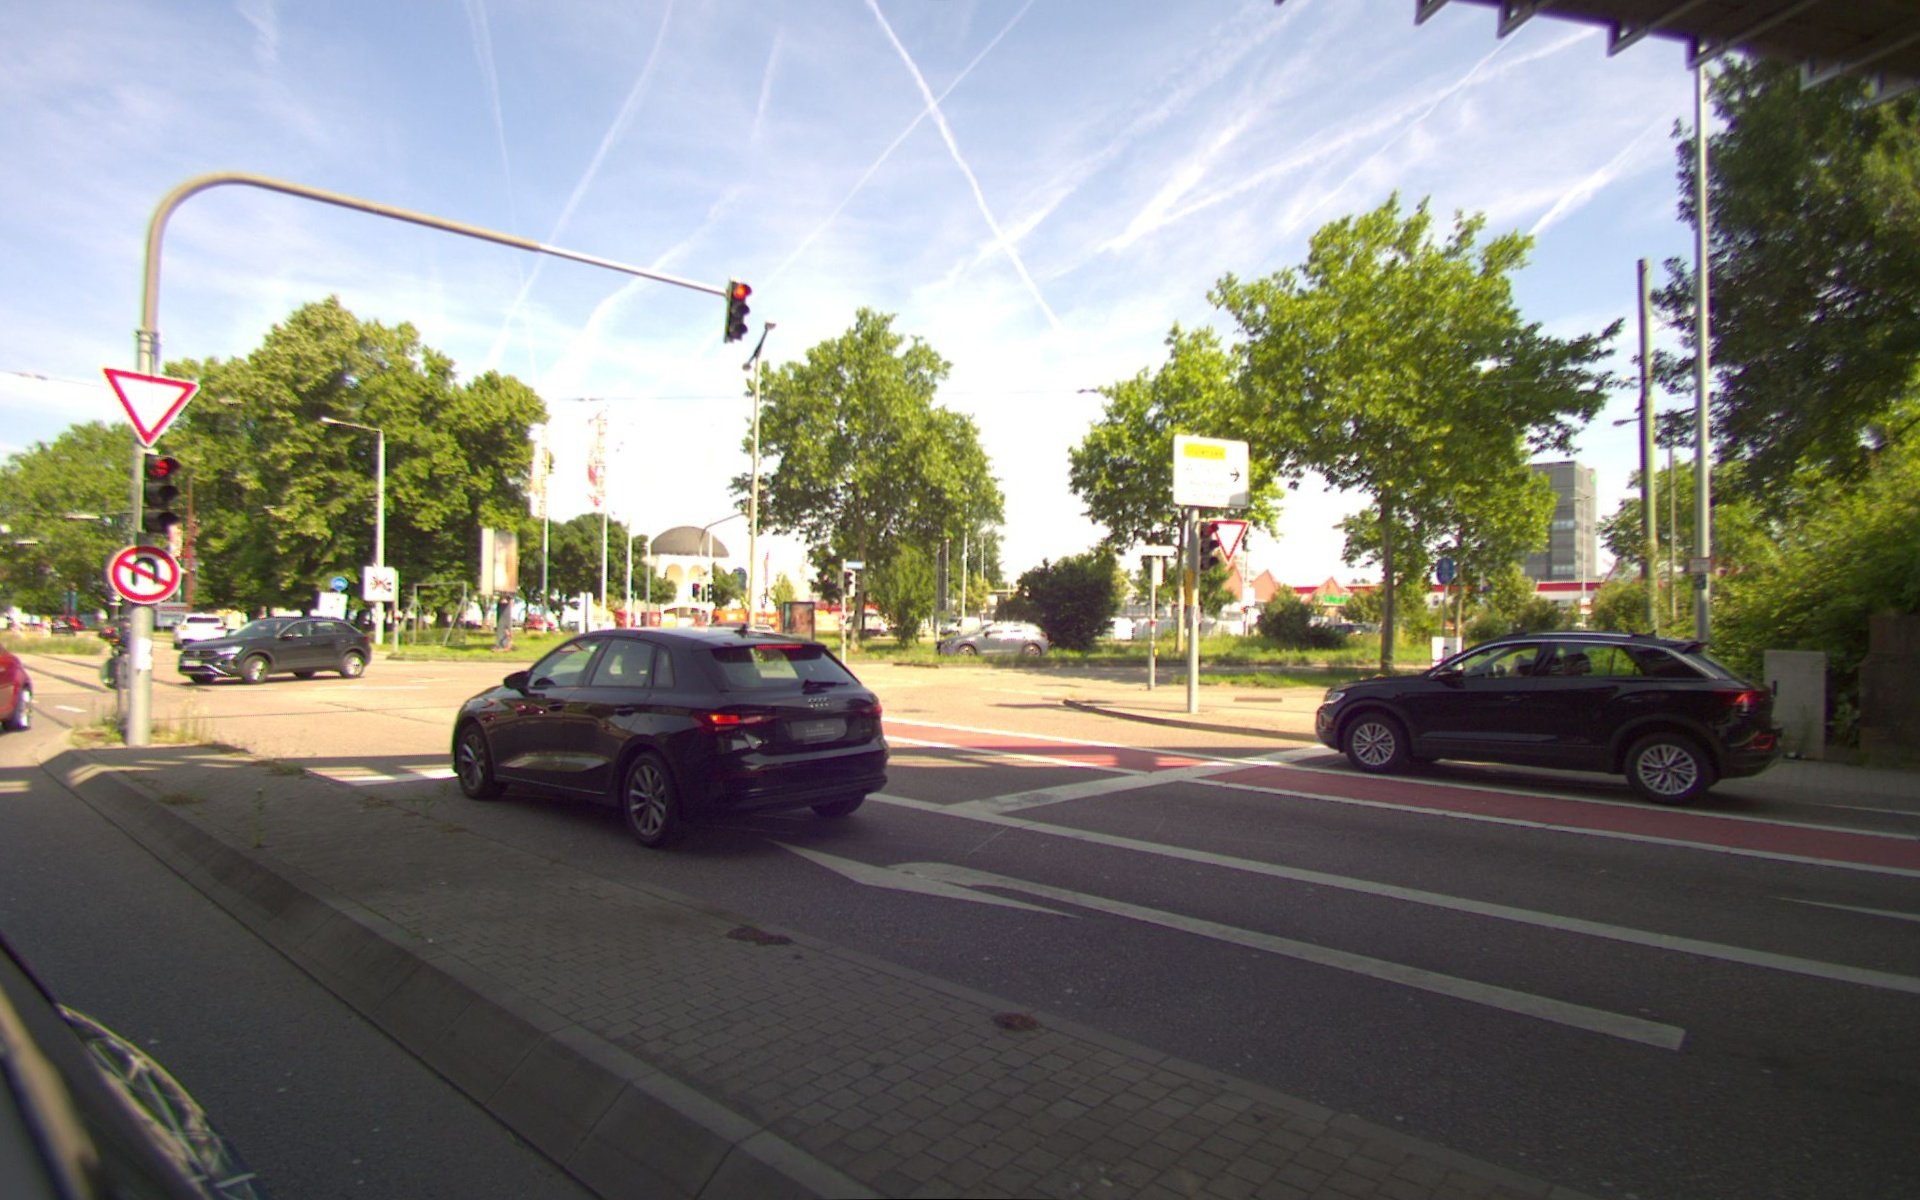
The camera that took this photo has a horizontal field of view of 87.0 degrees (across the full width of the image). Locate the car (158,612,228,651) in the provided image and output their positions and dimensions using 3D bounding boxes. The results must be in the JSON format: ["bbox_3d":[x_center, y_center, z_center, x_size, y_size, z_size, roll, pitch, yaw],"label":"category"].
[{"bbox_3d":[-35.859,1.427,47.275,3.633,1.734,1.801,-1,0,39],"label":"car"}]

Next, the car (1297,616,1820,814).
[{"bbox_3d":[5.967,0.983,10.429,4.385,1.608,1.853,-1,-2,41],"label":"car"}]

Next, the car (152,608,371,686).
[{"bbox_3d":[-16.480,1.053,24.133,1.810,1.654,4.089,-1,0,17],"label":"car"}]

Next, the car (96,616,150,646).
[{"bbox_3d":[-52.206,1.899,63.092,3.821,1.734,1.903,-1,0,39],"label":"car"}]

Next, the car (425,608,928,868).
[{"bbox_3d":[-2.350,0.820,7.769,4.119,1.458,1.762,0,-2,42],"label":"car"}]

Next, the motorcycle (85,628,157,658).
[{"bbox_3d":[-31.864,1.607,38.465,0.773,1.091,1.970,-1,-1,20],"label":"motorcycle"}]

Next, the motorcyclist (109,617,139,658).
[{"bbox_3d":[-31.774,1.426,38.464,0.628,1.540,0.637,-1,-1,21],"label":"motorcyclist"}]

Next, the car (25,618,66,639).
[{"bbox_3d":[-72.918,2.260,80.695,3.821,1.527,1.903,-1,0,39],"label":"car"}]

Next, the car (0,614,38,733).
[{"bbox_3d":[-12.493,0.925,11.721,1.768,1.465,3.992,0,0,-28],"label":"car"}]

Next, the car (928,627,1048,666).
[{"bbox_3d":[1.077,1.814,39.670,4.385,1.426,1.708,1,-2,-14],"label":"car"}]

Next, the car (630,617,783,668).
[{"bbox_3d":[-8.447,1.424,33.937,4.844,1.585,1.708,1,-2,-13],"label":"car"}]
